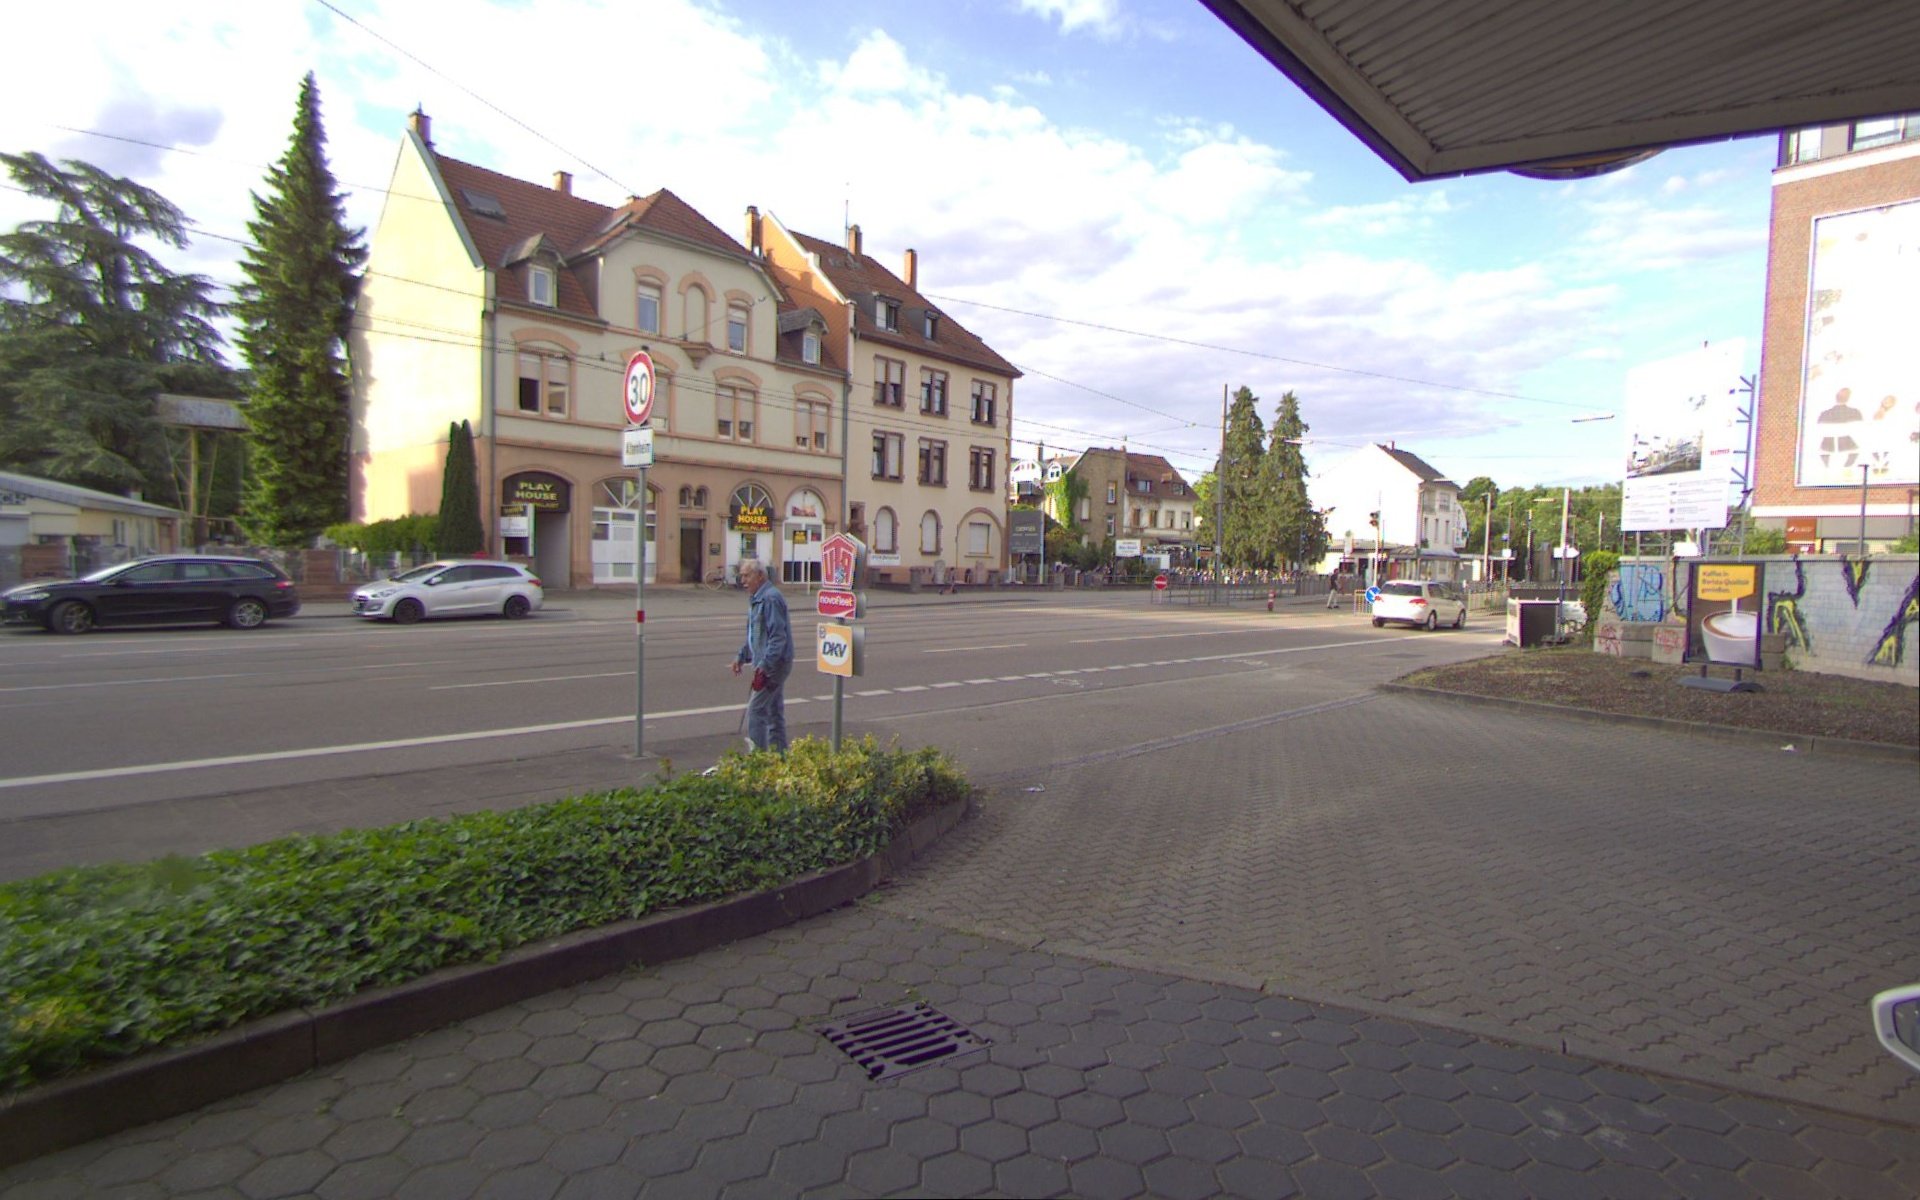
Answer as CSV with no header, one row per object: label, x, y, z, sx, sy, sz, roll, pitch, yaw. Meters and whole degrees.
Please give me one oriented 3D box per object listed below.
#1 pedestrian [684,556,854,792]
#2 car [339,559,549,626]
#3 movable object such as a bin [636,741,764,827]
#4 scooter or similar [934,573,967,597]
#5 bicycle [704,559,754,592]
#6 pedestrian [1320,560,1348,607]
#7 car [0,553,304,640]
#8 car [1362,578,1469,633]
pedestrian,-1.508,0.532,7.892,0.962,1.690,0.993,1,0,-37
car,-12.916,-0.235,25.362,1.699,1.503,4.434,4,4,40
movable object such as a bin,-1.699,1.187,6.562,0.674,0.426,0.476,1,0,-38
scooter or similar,-0.433,-0.667,45.118,0.461,1.041,1.655,4,3,40
bicycle,-9.103,-0.956,39.616,0.665,1.229,1.862,4,2,41
pedestrian,16.563,-0.703,44.495,0.835,2.040,0.808,2,0,-7
car,-16.596,-0.139,20.740,1.983,1.520,4.755,4,4,39
car,14.132,0.122,31.071,1.735,1.497,3.975,6,5,44
